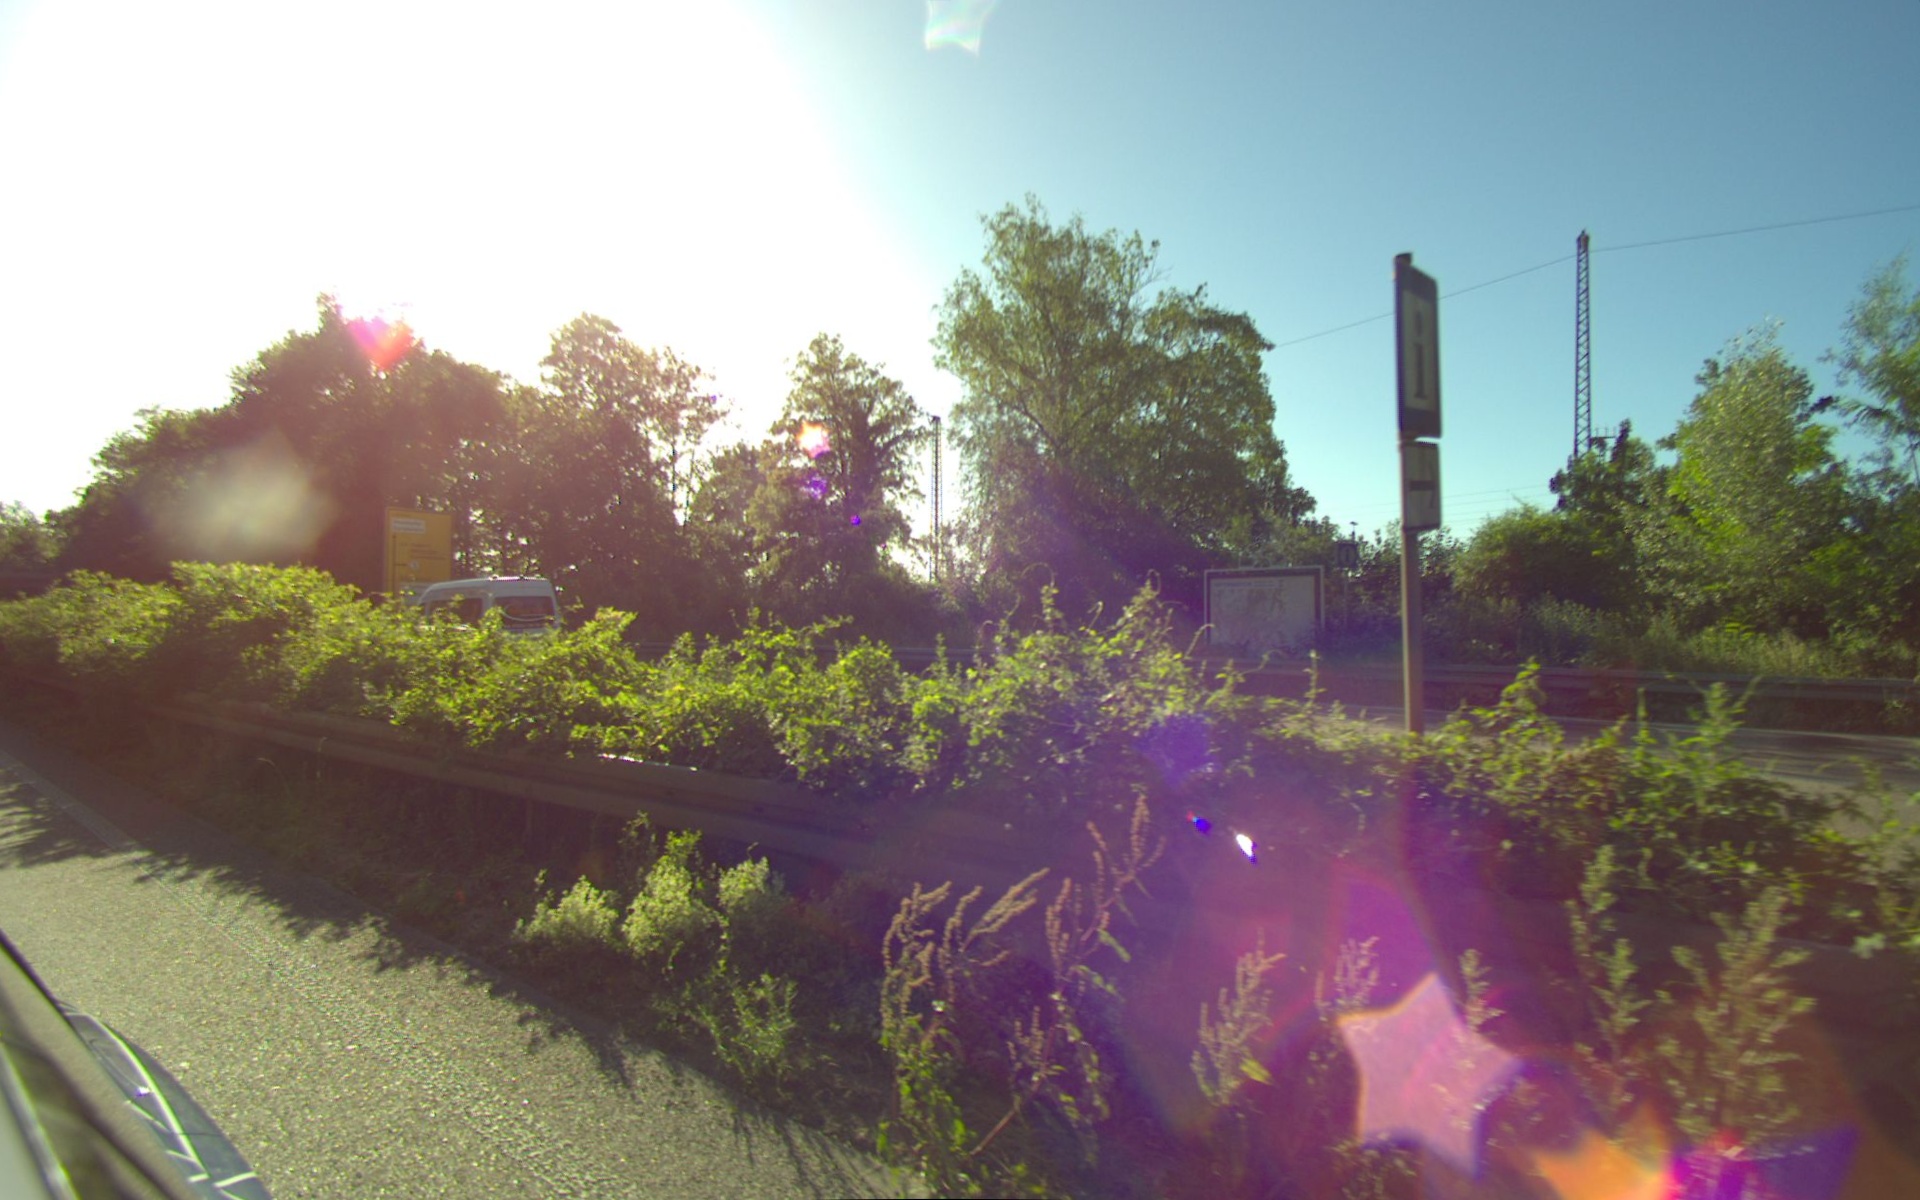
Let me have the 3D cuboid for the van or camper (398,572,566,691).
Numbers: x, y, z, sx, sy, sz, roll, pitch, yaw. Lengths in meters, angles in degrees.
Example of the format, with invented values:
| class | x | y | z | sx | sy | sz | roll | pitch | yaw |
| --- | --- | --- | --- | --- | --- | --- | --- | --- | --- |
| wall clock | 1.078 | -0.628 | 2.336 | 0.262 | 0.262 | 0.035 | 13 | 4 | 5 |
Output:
| class | x | y | z | sx | sy | sz | roll | pitch | yaw |
| --- | --- | --- | --- | --- | --- | --- | --- | --- | --- |
| van or camper | -12.266 | 0.778 | 25.798 | 5.251 | 2.743 | 1.973 | -1 | -2 | 41 |
